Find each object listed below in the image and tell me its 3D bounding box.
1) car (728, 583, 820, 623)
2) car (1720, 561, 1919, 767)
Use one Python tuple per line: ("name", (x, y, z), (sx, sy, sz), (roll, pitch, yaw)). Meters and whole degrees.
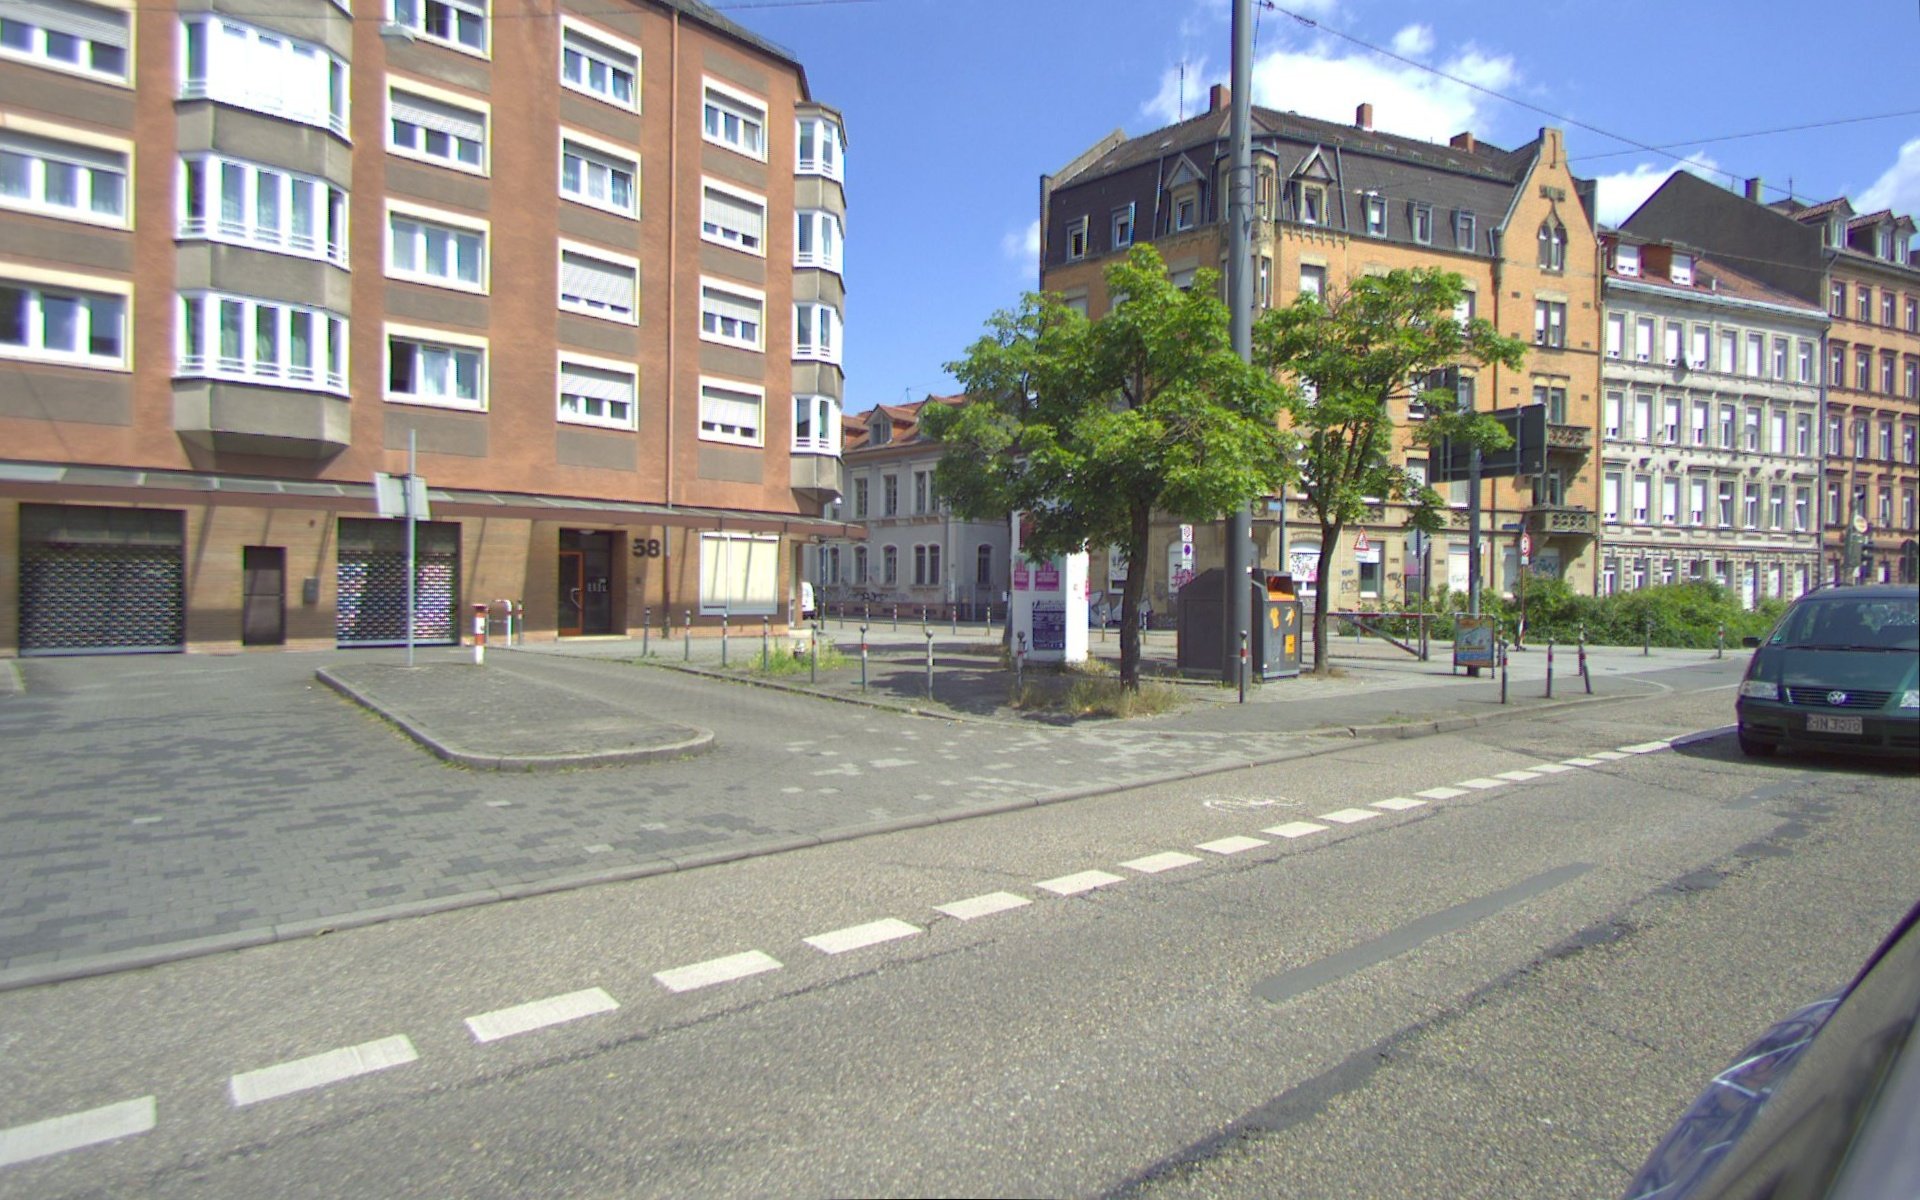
("car", (-8.875, 0.109, 48.256), (3.954, 1.845, 1.925), (1, 1, 23))
("car", (9.924, 0.504, 10.669), (4.940, 1.778, 1.823), (-1, 0, -38))
